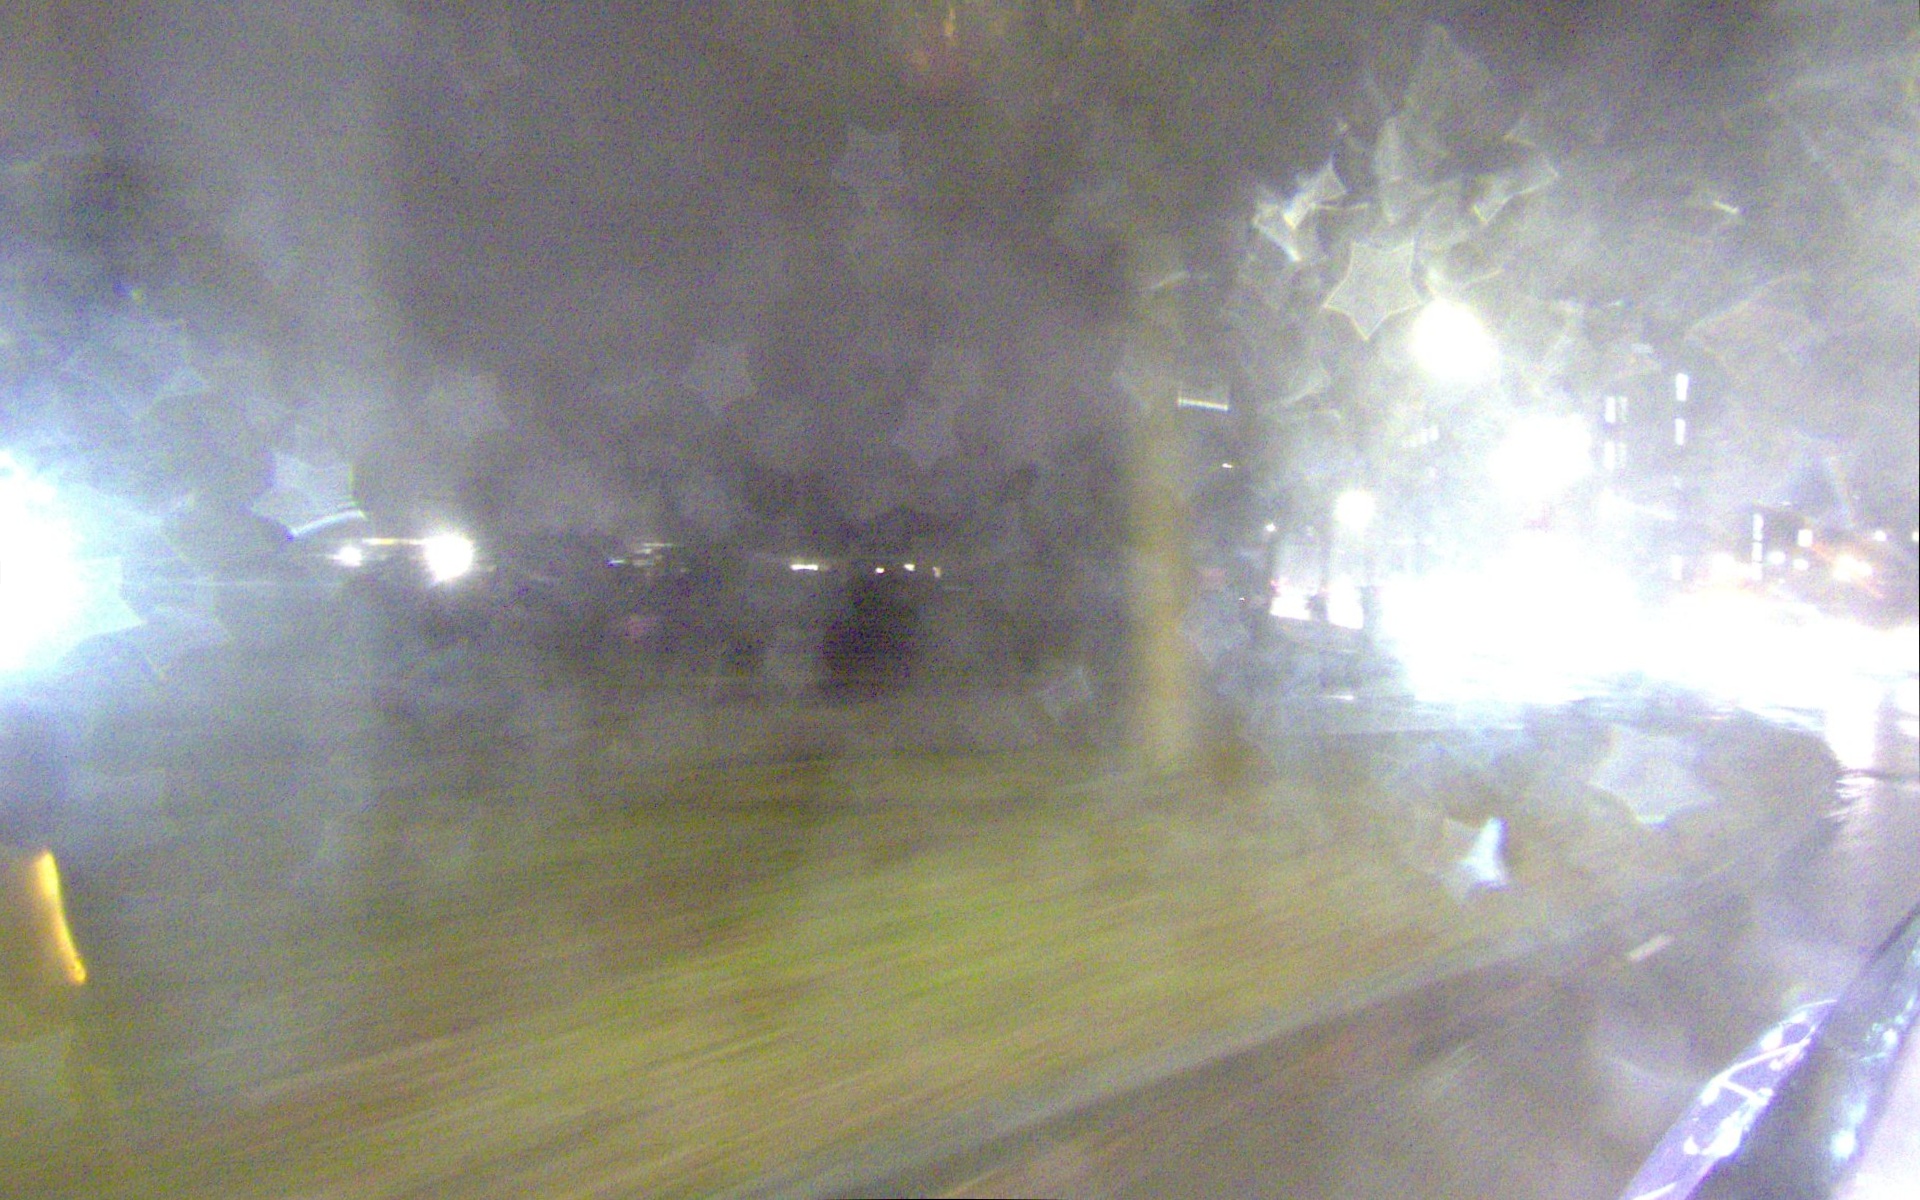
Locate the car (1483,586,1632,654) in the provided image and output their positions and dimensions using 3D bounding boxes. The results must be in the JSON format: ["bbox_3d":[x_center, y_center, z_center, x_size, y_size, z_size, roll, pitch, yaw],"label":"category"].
[{"bbox_3d":[16.786,0.490,28.723,1.917,1.741,4.436,0,1,5],"label":"car"}]

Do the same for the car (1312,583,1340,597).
[{"bbox_3d":[39.582,-1.140,109.551,1.801,1.482,3.998,0,1,2],"label":"car"}]

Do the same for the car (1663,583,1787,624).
[{"bbox_3d":[34.564,0.106,45.945,2.033,1.737,5.036,0,1,4],"label":"car"}]

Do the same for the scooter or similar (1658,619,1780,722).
[{"bbox_3d":[8.978,0.810,12.003,1.097,1.111,0.314,3,2,34],"label":"scooter or similar"}]

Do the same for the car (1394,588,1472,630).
[{"bbox_3d":[20.831,0.346,44.735,1.803,1.727,4.189,0,1,5],"label":"car"}]

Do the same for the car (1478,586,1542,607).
[{"bbox_3d":[39.843,-0.273,73.487,1.964,1.419,5.346,0,1,4],"label":"car"}]

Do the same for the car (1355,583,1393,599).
[{"bbox_3d":[38.558,-0.849,94.381,1.802,1.482,4.656,0,1,3],"label":"car"}]

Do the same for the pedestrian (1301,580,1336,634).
[{"bbox_3d":[10.096,0.190,28.515,0.715,1.504,0.835,0,1,5],"label":"pedestrian"}]

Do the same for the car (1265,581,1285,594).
[{"bbox_3d":[45.627,-1.831,146.631,1.802,1.735,4.436,0,1,5],"label":"car"}]

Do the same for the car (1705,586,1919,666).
[{"bbox_3d":[18.989,0.479,22.335,1.803,1.546,4.868,0,1,5],"label":"car"}]
